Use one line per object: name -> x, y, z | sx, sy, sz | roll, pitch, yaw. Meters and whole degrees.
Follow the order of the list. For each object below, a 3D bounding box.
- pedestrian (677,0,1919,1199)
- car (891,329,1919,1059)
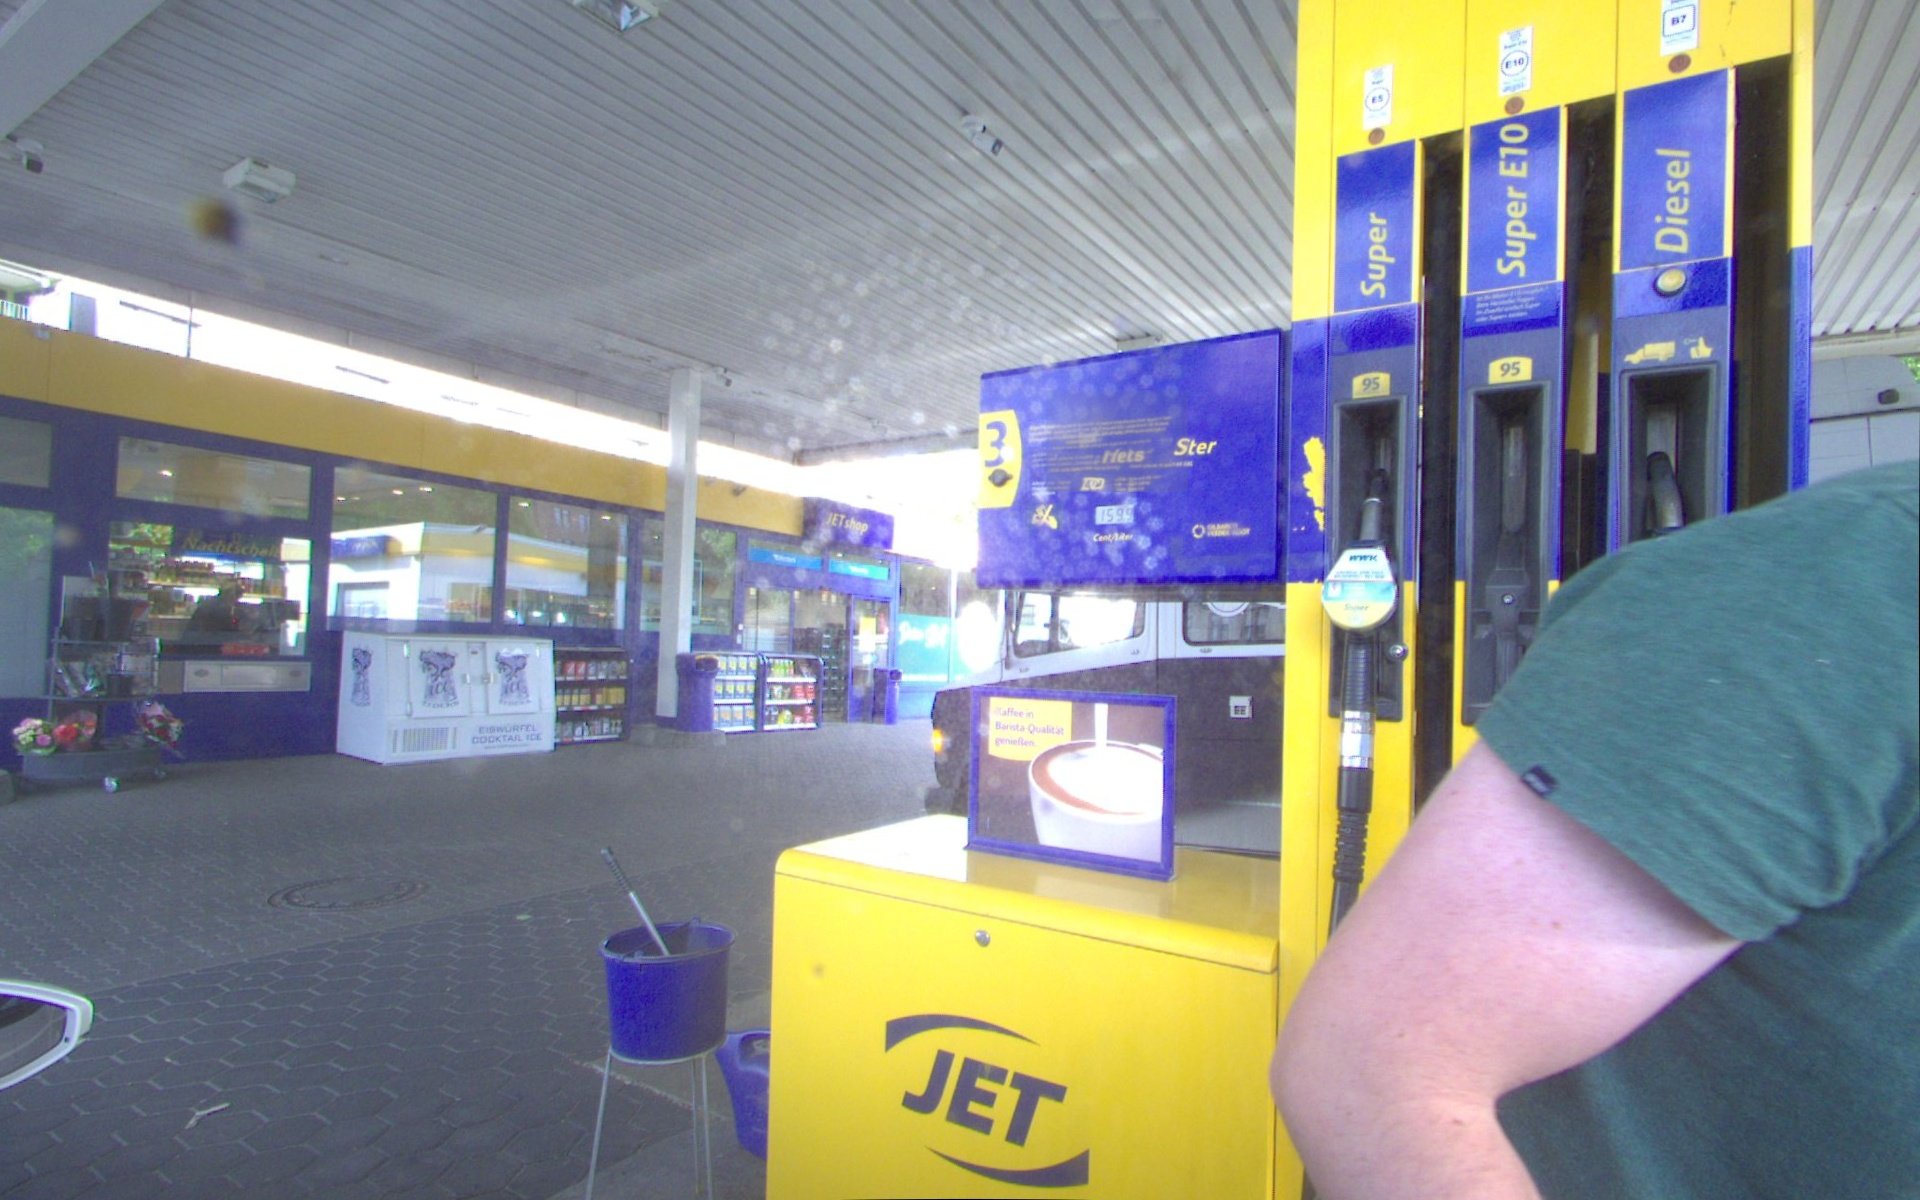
pedestrian -> 0.652, 0.552, 0.454 | 1.167, 1.750, 0.988 | -2, -2, 35
car -> 2.343, 0.432, 6.007 | 5.271, 2.759, 2.193 | -1, -3, 34
